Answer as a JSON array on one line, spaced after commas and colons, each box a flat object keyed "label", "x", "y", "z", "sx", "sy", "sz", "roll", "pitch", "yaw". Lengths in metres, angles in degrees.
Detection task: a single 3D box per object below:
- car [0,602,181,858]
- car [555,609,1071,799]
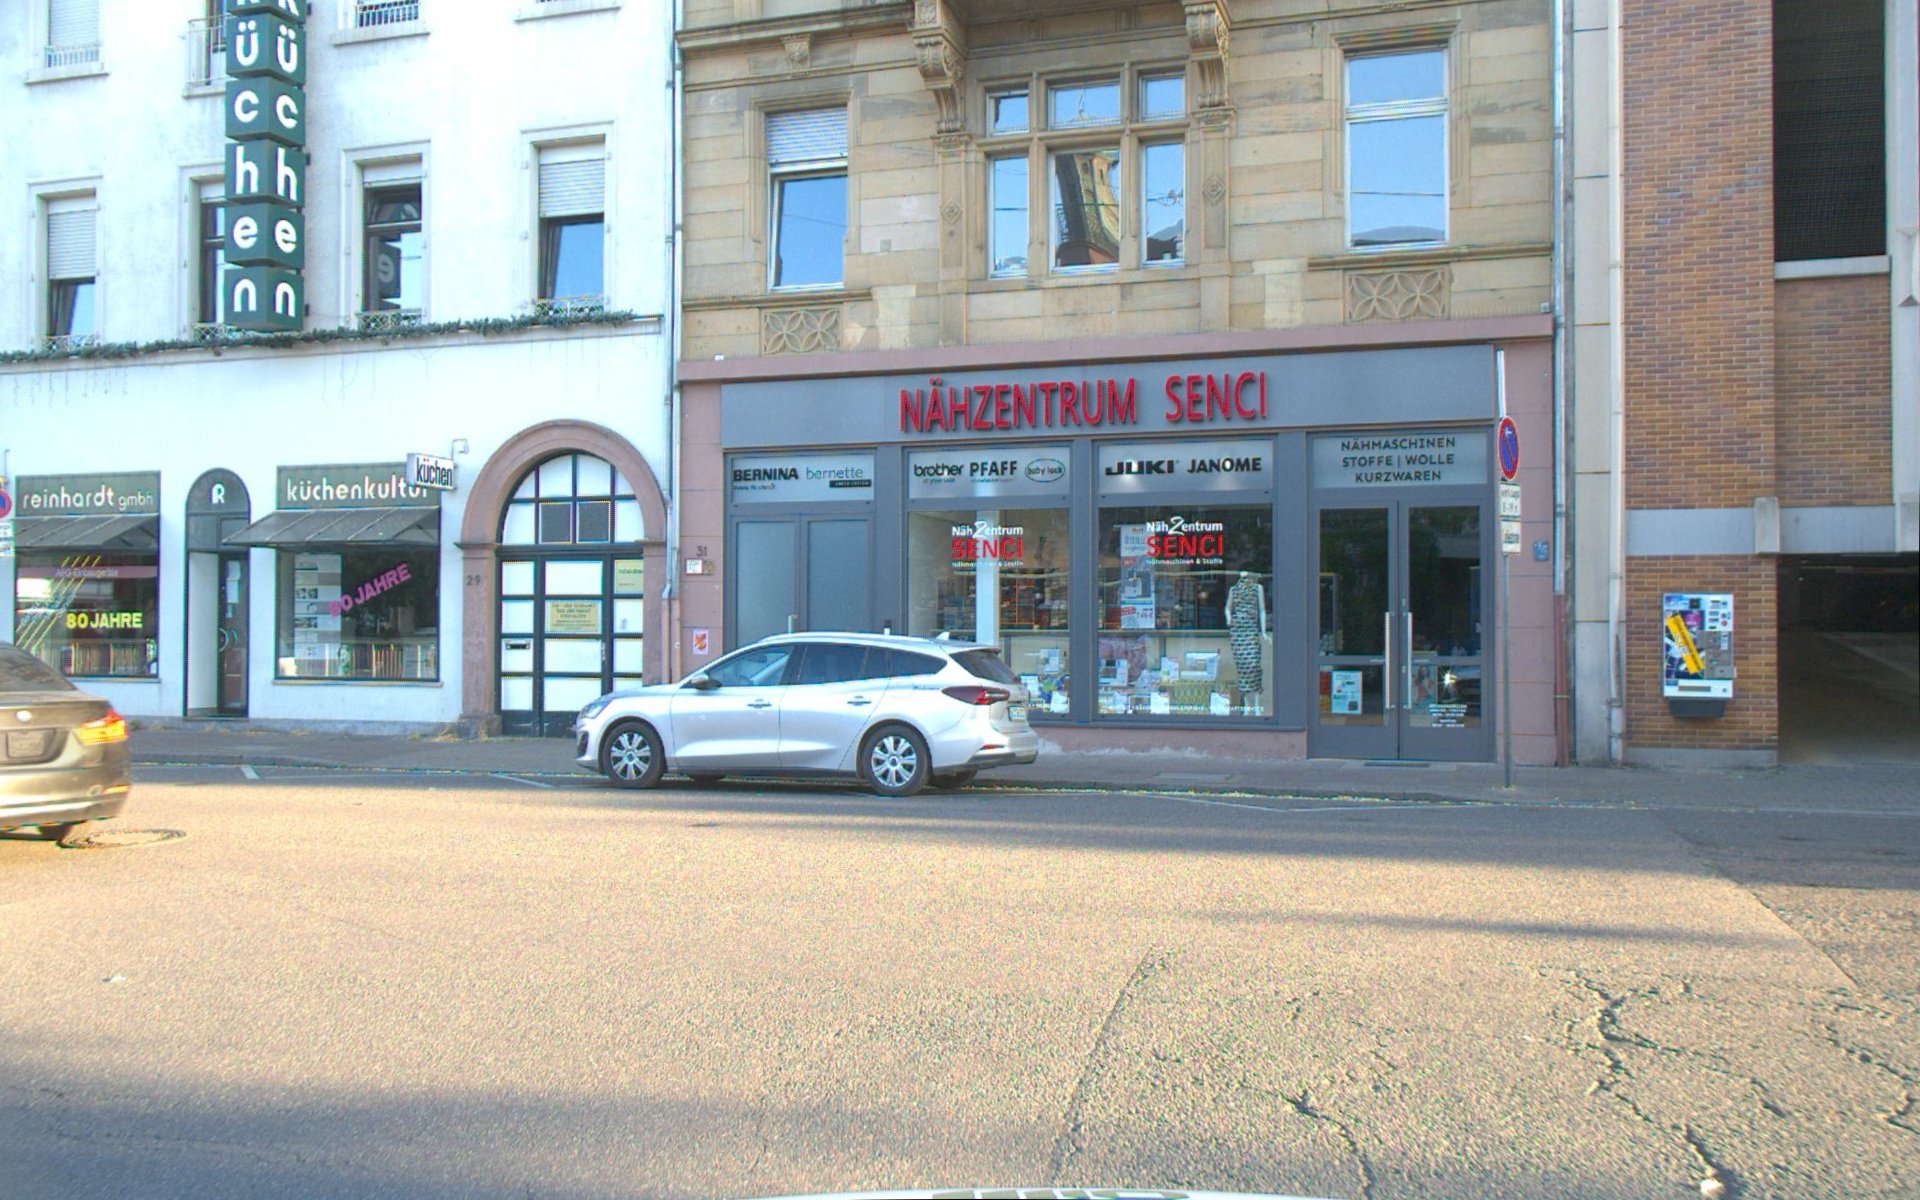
[{"label": "car", "x": -7.313, "y": 0.807, "z": 11.126, "sx": 4.117, "sy": 1.518, "sz": 1.889, "roll": -1, "pitch": -2, "yaw": 34}, {"label": "car", "x": -1.388, "y": 0.936, "z": 16.111, "sx": 4.568, "sy": 1.562, "sz": 2.001, "roll": 1, "pitch": -1, "yaw": 17}]
